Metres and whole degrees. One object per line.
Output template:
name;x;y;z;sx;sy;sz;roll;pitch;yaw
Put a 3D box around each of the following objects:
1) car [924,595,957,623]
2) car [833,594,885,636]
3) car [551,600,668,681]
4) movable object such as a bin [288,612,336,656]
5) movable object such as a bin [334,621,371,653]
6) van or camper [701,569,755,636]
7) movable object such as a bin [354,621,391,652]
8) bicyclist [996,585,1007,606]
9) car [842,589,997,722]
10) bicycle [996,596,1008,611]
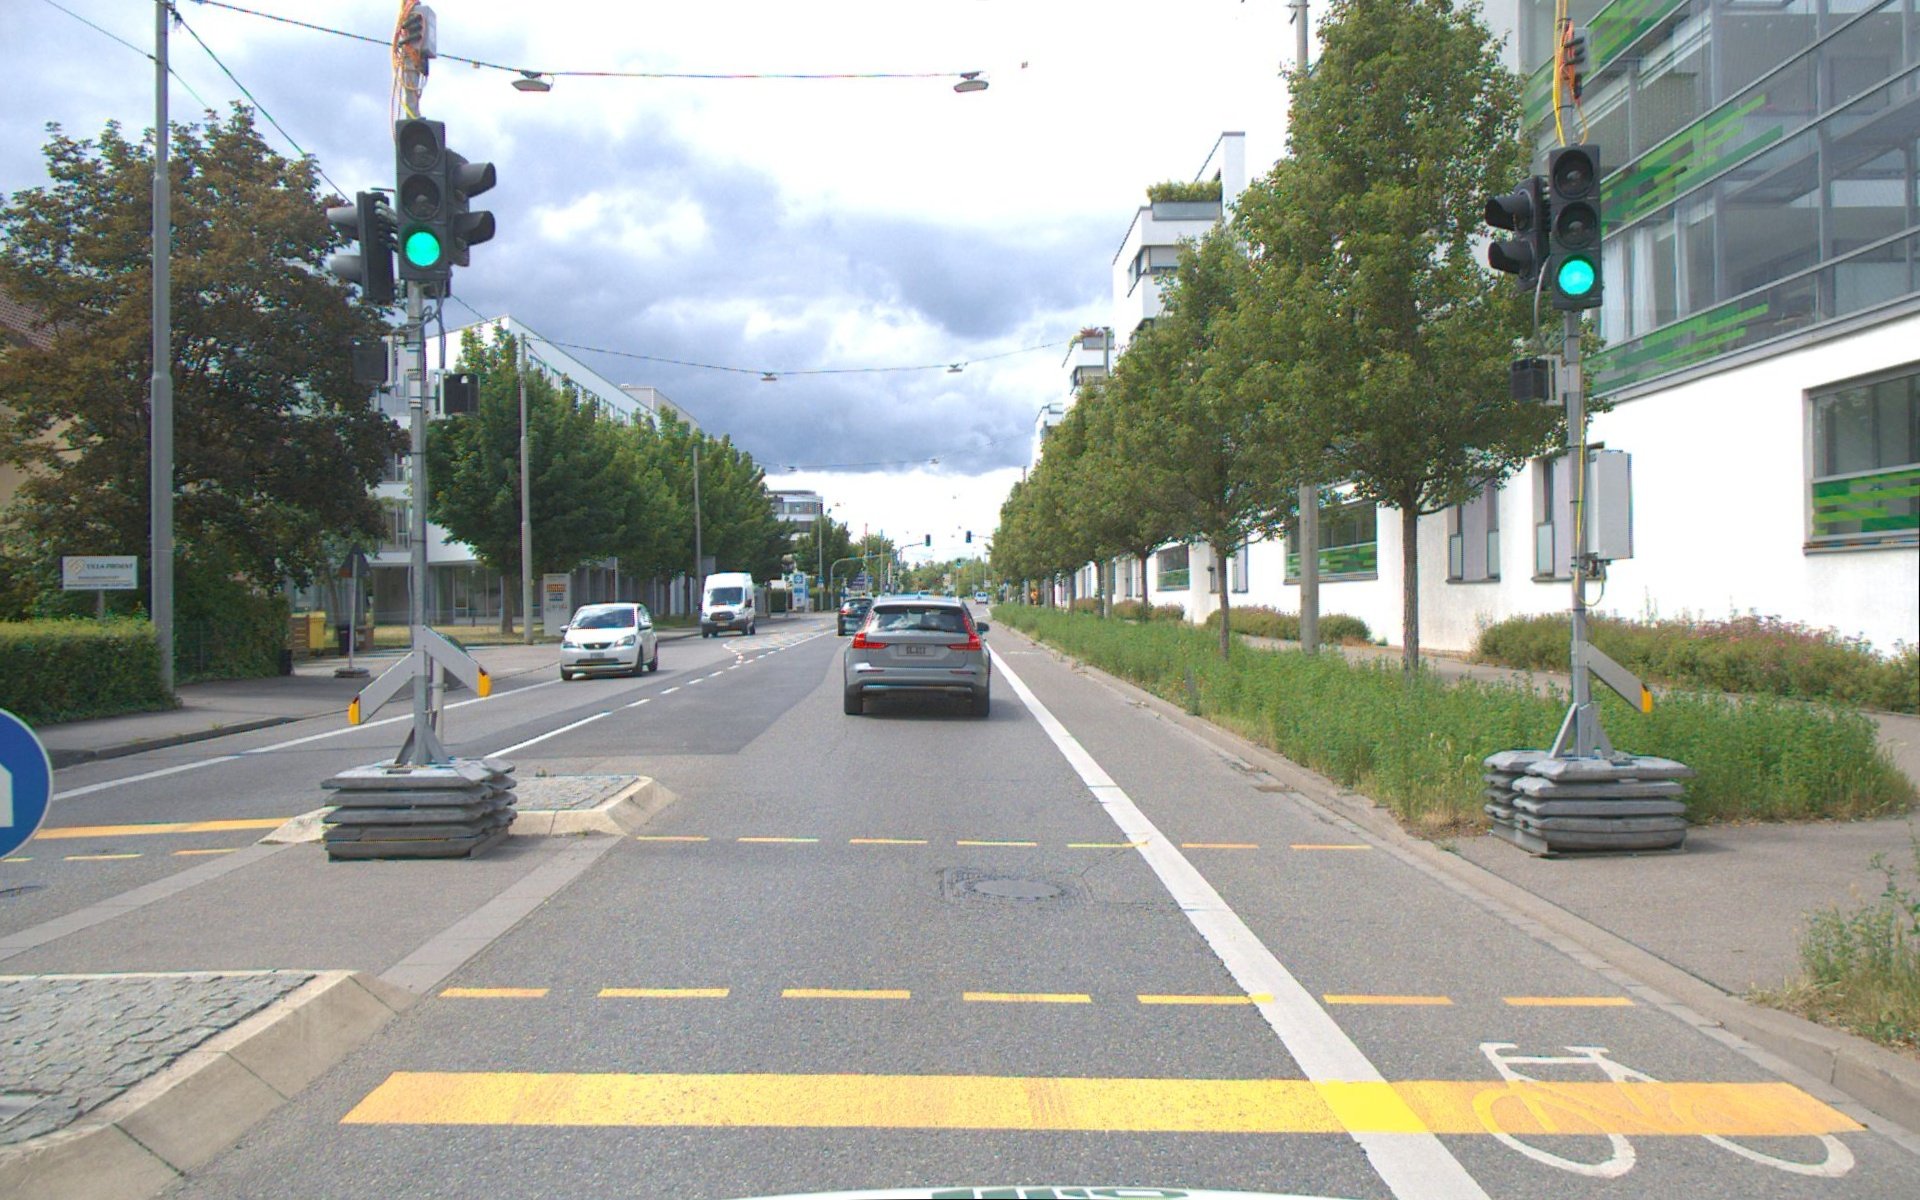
car;-1.133;0.477;94.610;1.807;1.539;3.999;0;0;-1
car;-3.858;0.559;63.759;1.817;1.539;3.999;0;0;-1
car;-7.248;0.795;34.545;1.627;1.542;3.999;-1;0;-1
movable object such as a bin;-21.195;1.107;54.098;1.387;1.353;1.414;-2;0;-22
movable object such as a bin;-19.833;1.205;54.003;0.730;0.958;1.000;-2;0;6
van or camper;-10.262;0.119;73.470;1.955;2.781;6.046;-2;0;-5
movable object such as a bin;-19.090;1.175;53.750;0.730;0.958;1.000;-2;0;6
bicyclist;4.118;-0.474;165.096;0.993;2.049;1.131;-2;0;-2
car;-0.548;0.656;21.647;1.817;1.539;3.998;1;0;-2
bicycle;4.165;0.347;165.005;1.045;1.478;2.976;-2;0;-1
